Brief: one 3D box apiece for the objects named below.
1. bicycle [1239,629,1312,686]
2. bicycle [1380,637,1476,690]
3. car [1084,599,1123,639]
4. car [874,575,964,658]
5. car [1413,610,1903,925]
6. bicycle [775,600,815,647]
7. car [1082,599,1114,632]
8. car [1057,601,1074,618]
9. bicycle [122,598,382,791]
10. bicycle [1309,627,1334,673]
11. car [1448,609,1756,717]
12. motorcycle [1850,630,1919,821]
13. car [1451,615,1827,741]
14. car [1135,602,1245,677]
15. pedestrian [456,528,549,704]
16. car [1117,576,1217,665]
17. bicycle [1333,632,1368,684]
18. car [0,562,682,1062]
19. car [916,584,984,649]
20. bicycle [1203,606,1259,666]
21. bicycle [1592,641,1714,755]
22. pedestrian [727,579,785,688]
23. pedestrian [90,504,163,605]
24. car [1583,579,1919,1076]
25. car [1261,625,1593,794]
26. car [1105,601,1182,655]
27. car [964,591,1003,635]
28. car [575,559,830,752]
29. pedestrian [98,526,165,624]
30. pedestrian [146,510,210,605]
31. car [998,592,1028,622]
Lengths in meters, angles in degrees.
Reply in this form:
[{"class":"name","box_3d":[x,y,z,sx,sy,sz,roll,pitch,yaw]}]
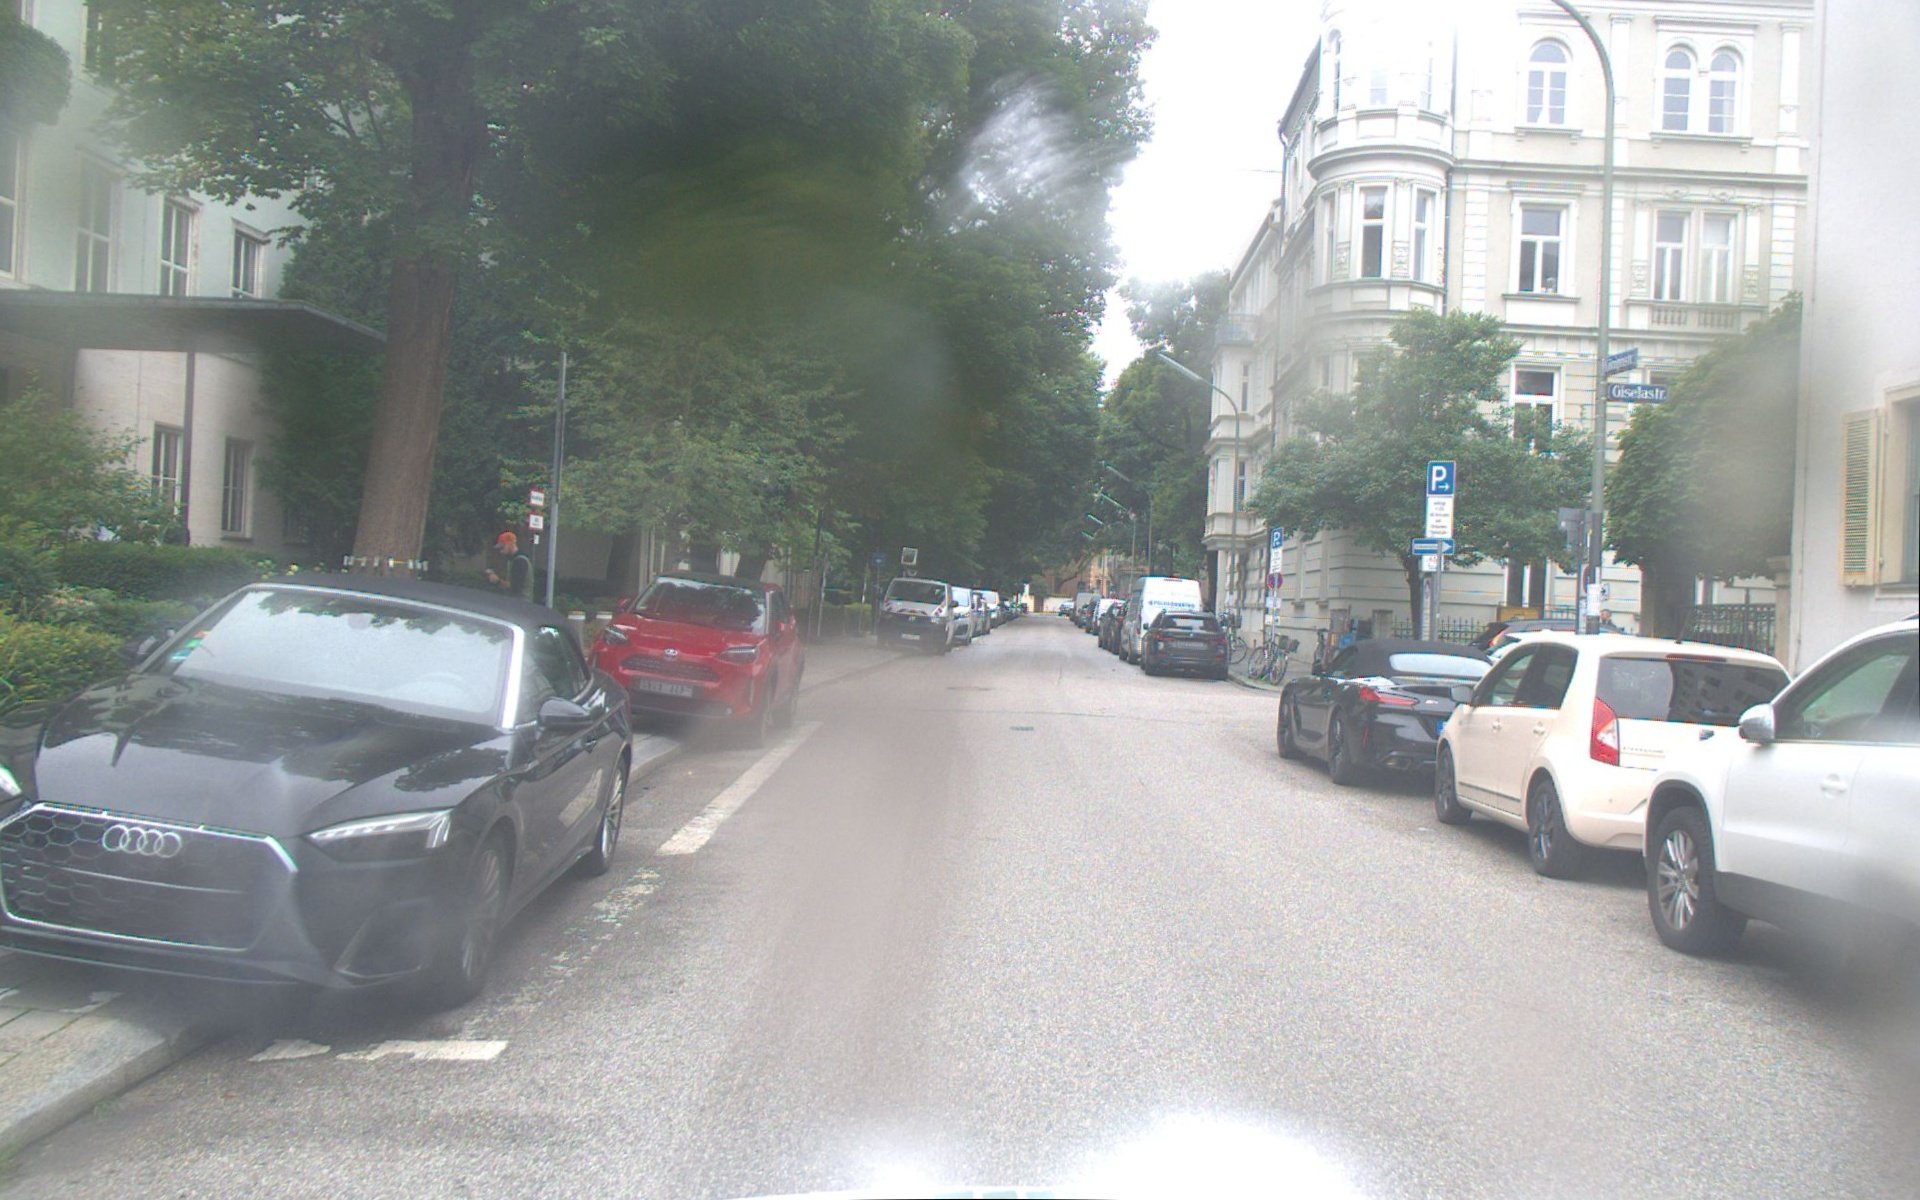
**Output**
[{"class":"bicycle","box_3d":[6.610,1.192,34.774,0.642,1.046,2.195,2,1,-13]},{"class":"bicycle","box_3d":[10.056,1.359,35.558,1.882,1.046,0.557,2,1,5]},{"class":"car","box_3d":[7.630,0.986,88.266,1.951,2.010,4.002,2,0,4]},{"class":"car","box_3d":[-1.055,0.428,45.377,2.202,1.990,5.453,4,0,0]},{"class":"car","box_3d":[4.486,0.963,11.288,1.735,1.572,3.712,7,0,2]},{"class":"bicycle","box_3d":[-4.157,0.598,41.774,0.619,1.122,1.768,4,0,4]},{"class":"car","box_3d":[8.941,0.976,107.422,1.951,2.049,4.002,2,0,4]},{"class":"car","box_3d":[12.075,1.112,189.165,1.952,1.814,4.002,2,0,4]},{"class":"bicycle","box_3d":[-4.694,0.580,11.142,0.635,1.150,2.049,2,0,7]},{"class":"bicycle","box_3d":[8.852,1.211,40.483,0.534,1.079,1.752,2,0,11]},{"class":"car","box_3d":[11.787,1.186,30.599,4.934,1.681,1.943,3,-4,0]},{"class":"motorcycle","box_3d":[7.878,0.999,12.418,0.840,1.458,2.706,2,0,-1]},{"class":"car","box_3d":[10.083,1.137,24.826,4.806,1.558,1.913,2,2,0]},{"class":"car","box_3d":[5.254,0.886,38.288,2.225,1.573,4.589,1,-1,4]},{"class":"pedestrian","box_3d":[-5.120,0.176,18.551,0.698,1.884,0.797,4,-1,1]},{"class":"car","box_3d":[5.596,0.557,45.250,2.158,2.247,4.855,1,-1,1]},{"class":"bicycle","box_3d":[8.708,1.289,36.930,0.421,1.046,1.891,2,1,4]},{"class":"car","box_3d":[-2.502,0.642,7.488,1.771,1.426,4.921,4,0,-3]},{"class":"car","box_3d":[-0.333,0.536,57.082,2.139,1.990,5.166,4,0,0]},{"class":"bicycle","box_3d":[7.309,0.952,44.683,0.695,1.542,2.031,2,0,-14]},{"class":"bicycle","box_3d":[8.125,1.121,19.458,0.531,1.247,1.775,2,-1,-5]},{"class":"pedestrian","box_3d":[-3.082,0.499,25.048,0.699,1.575,0.752,4,0,-3]},{"class":"pedestrian","box_3d":[-15.294,-0.822,30.351,0.880,1.783,0.752,2,0,-1]},{"class":"car","box_3d":[4.385,0.868,6.666,1.953,1.736,4.534,4,0,0]},{"class":"car","box_3d":[4.334,0.954,16.166,1.959,1.342,4.595,0,0,0]},{"class":"car","box_3d":[5.946,0.900,54.086,2.094,1.658,4.316,1,-1,1]},{"class":"car","box_3d":[1.309,0.701,90.059,1.961,2.224,4.697,4,0,2]},{"class":"car","box_3d":[-2.507,0.507,17.225,1.849,1.618,4.527,4,0,0]},{"class":"pedestrian","box_3d":[-15.593,-0.460,31.142,0.735,1.783,0.900,2,-1,-2]},{"class":"pedestrian","box_3d":[-15.306,-0.817,32.391,0.735,1.783,0.900,2,-1,-2]},{"class":"car","box_3d":[4.144,0.517,129.821,2.006,2.192,4.313,4,0,0]}]
